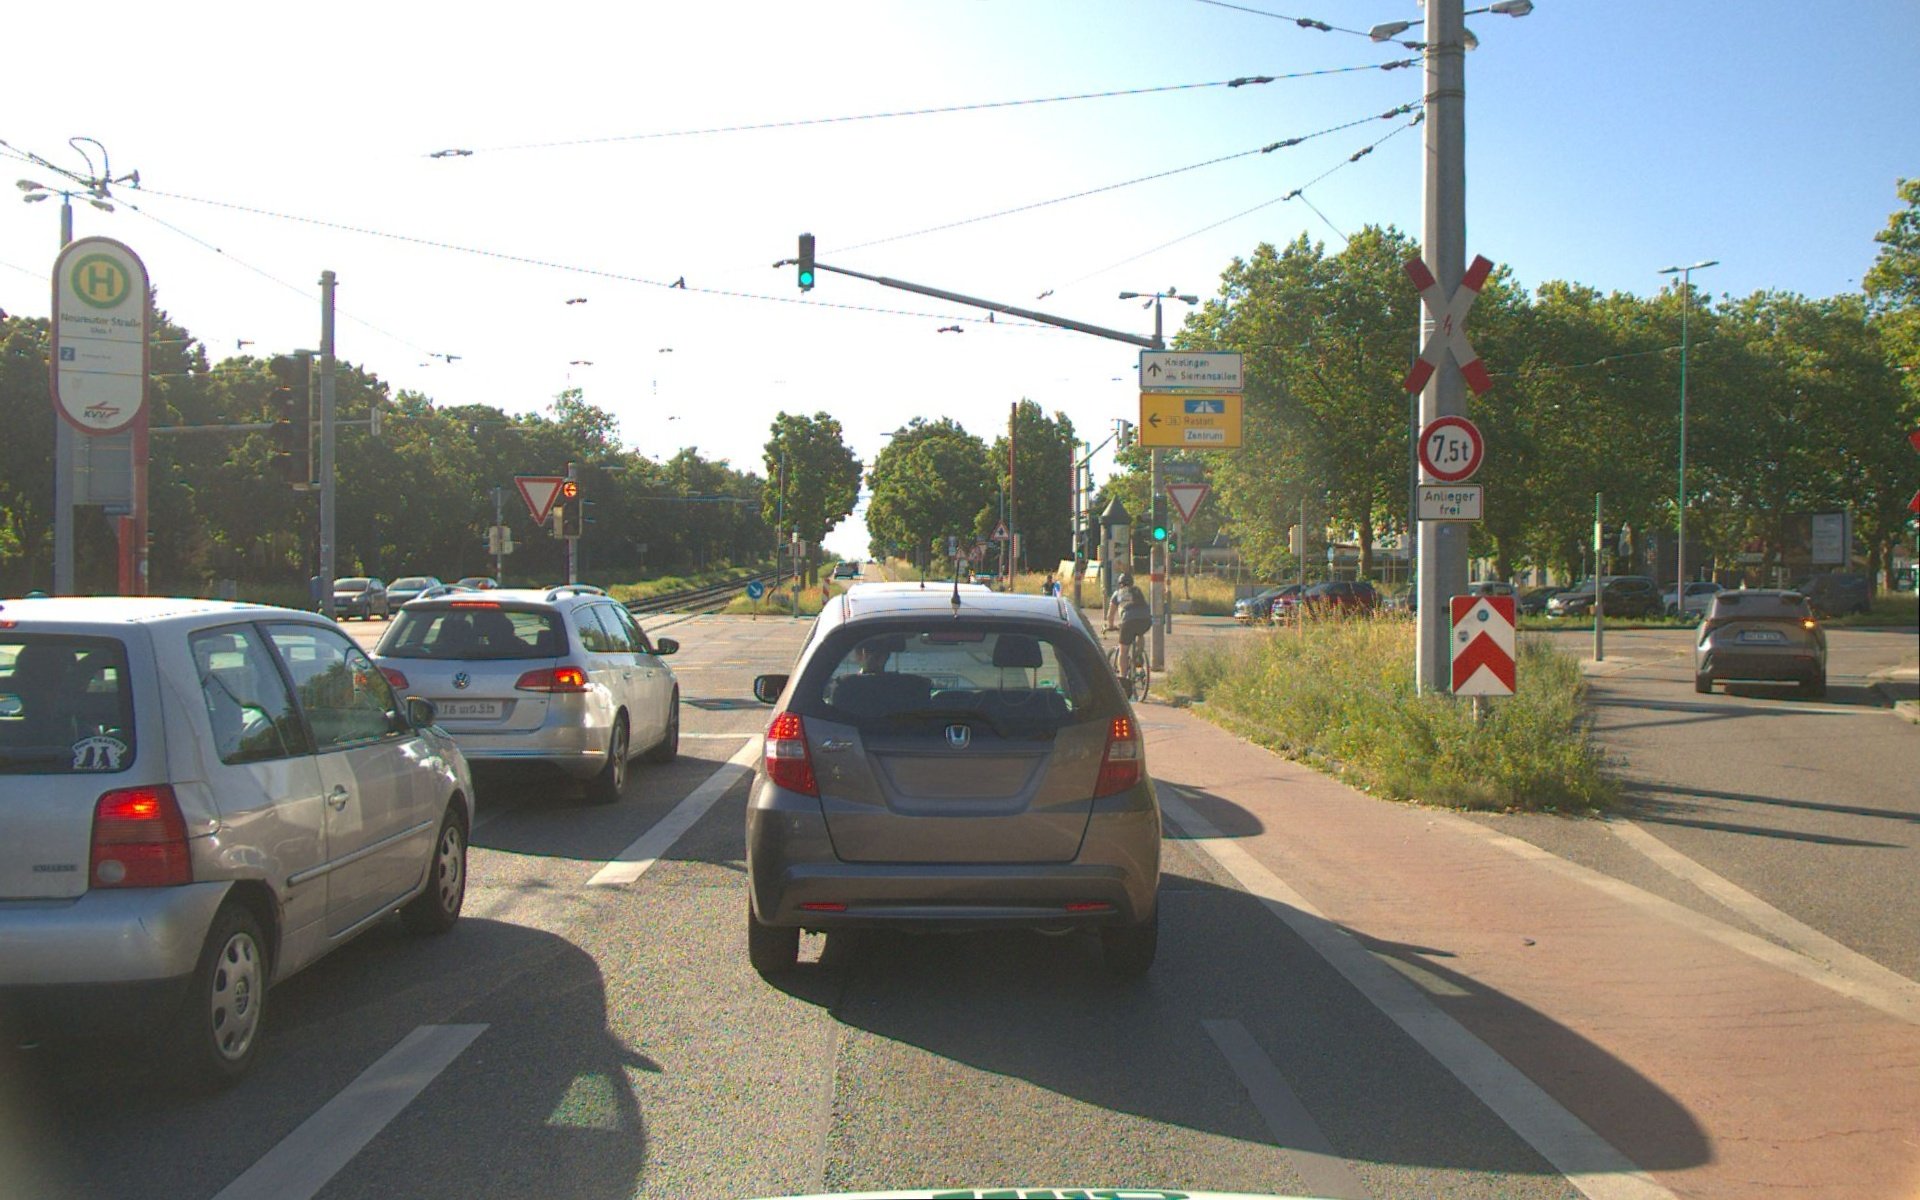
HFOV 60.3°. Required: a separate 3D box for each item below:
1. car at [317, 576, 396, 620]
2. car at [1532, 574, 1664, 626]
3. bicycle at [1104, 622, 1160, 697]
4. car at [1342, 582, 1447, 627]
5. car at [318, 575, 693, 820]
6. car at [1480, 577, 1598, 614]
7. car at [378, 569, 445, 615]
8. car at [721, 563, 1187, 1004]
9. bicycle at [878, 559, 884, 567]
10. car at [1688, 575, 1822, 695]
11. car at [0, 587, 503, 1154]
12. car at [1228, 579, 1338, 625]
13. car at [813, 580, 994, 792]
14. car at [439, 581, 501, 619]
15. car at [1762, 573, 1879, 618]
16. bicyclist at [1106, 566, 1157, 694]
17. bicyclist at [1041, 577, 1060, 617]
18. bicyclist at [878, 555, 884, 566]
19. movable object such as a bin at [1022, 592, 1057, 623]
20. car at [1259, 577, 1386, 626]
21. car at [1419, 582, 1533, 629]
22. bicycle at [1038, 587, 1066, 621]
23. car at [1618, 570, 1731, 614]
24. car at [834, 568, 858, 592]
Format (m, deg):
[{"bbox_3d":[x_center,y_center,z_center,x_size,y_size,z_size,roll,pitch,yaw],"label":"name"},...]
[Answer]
[{"bbox_3d":[-21.091,-0.077,57.890,1.650,1.484,3.700,0,1,-5],"label":"car"},{"bbox_3d":[22.162,-0.023,57.419,4.431,1.741,1.902,-1,0,-30],"label":"car"},{"bbox_3d":[2.343,0.793,22.663,0.513,0.939,2.089,0,0,-1],"label":"bicycle"},{"bbox_3d":[16.590,0.150,63.077,3.806,1.628,1.696,-1,0,-30],"label":"car"},{"bbox_3d":[-3.269,0.604,12.822,1.839,1.554,4.419,0,0,-2],"label":"car"},{"bbox_3d":[22.959,-0.192,65.561,4.504,1.432,1.917,-1,0,-28],"label":"car"},{"bbox_3d":[-21.400,-0.328,64.650,1.757,1.717,3.994,0,1,-8],"label":"car"},{"bbox_3d":[-0.045,0.629,7.679,1.637,1.542,3.673,0,0,-1],"label":"car"},{"bbox_3d":[-11.469,-5.386,239.387,0.801,1.066,2.505,1,0,-2],"label":"bicycle"},{"bbox_3d":[12.695,0.498,26.341,1.786,1.734,3.769,1,1,27],"label":"car"},{"bbox_3d":[-2.874,0.709,6.093,1.549,1.494,3.413,0,1,-2],"label":"car"},{"bbox_3d":[11.791,0.056,60.356,3.806,1.628,1.696,-1,0,-30],"label":"car"},{"bbox_3d":[-0.479,0.616,13.738,1.324,1.554,3.122,0,0,-2],"label":"car"},{"bbox_3d":[-21.568,-0.010,72.927,1.778,1.624,4.687,0,1,-6],"label":"car"},{"bbox_3d":[40.907,-0.216,78.643,5.027,2.106,2.118,0,1,-20],"label":"car"},{"bbox_3d":[2.339,0.392,22.612,0.602,1.709,0.933,0,0,0],"label":"bicyclist"},{"bbox_3d":[3.132,-0.112,57.361,0.501,1.364,0.563,0,0,-16],"label":"bicyclist"},{"bbox_3d":[-11.454,-5.756,239.408,0.801,1.551,0.965,1,0,-2],"label":"bicyclist"},{"bbox_3d":[2.826,0.261,58.660,0.893,1.087,1.311,1,0,-15],"label":"movable object such as a bin"},{"bbox_3d":[12.316,0.032,56.190,4.026,1.628,1.801,-1,0,-26],"label":"car"},{"bbox_3d":[18.594,0.167,59.608,3.800,1.628,1.699,-1,0,-26],"label":"car"},{"bbox_3d":[3.163,0.133,56.905,0.459,1.138,1.813,0,1,-14],"label":"bicycle"},{"bbox_3d":[29.921,-0.319,69.217,4.708,1.711,1.891,1,0,-29],"label":"car"},{"bbox_3d":[-10.317,-1.784,149.840,1.953,2.049,3.998,1,0,-2],"label":"car"}]
